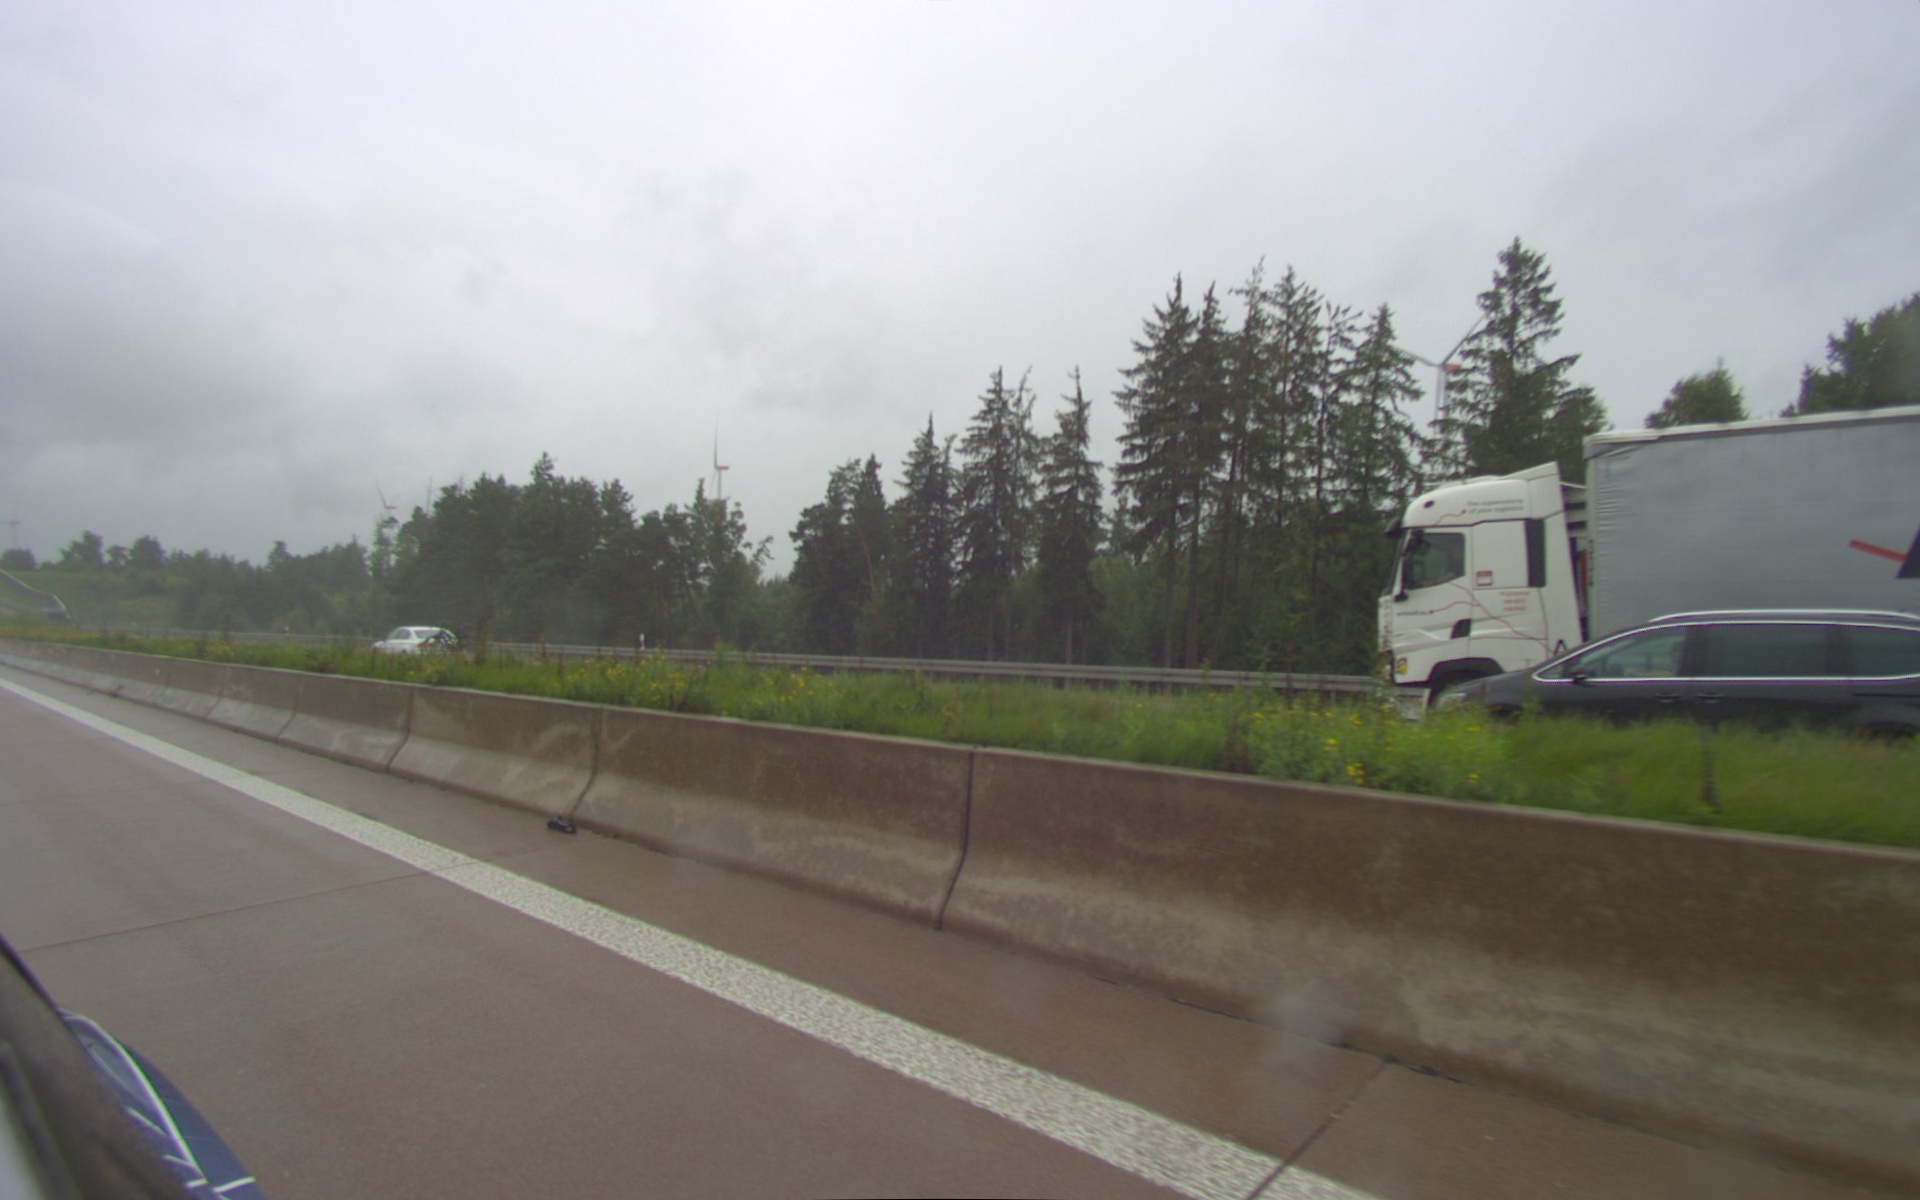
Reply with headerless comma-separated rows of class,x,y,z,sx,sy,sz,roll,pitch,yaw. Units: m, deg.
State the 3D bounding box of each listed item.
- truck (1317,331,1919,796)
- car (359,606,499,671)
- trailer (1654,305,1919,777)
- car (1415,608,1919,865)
truck,9.208,-0.389,13.945,7.252,4.907,3.641,-1,0,41
car,-18.014,1.248,34.211,5.753,1.993,2.282,-1,0,41
trailer,14.763,-0.706,9.092,13.675,4.990,3.715,-1,0,42
car,7.477,1.123,9.817,5.149,2.029,2.282,-1,0,41
